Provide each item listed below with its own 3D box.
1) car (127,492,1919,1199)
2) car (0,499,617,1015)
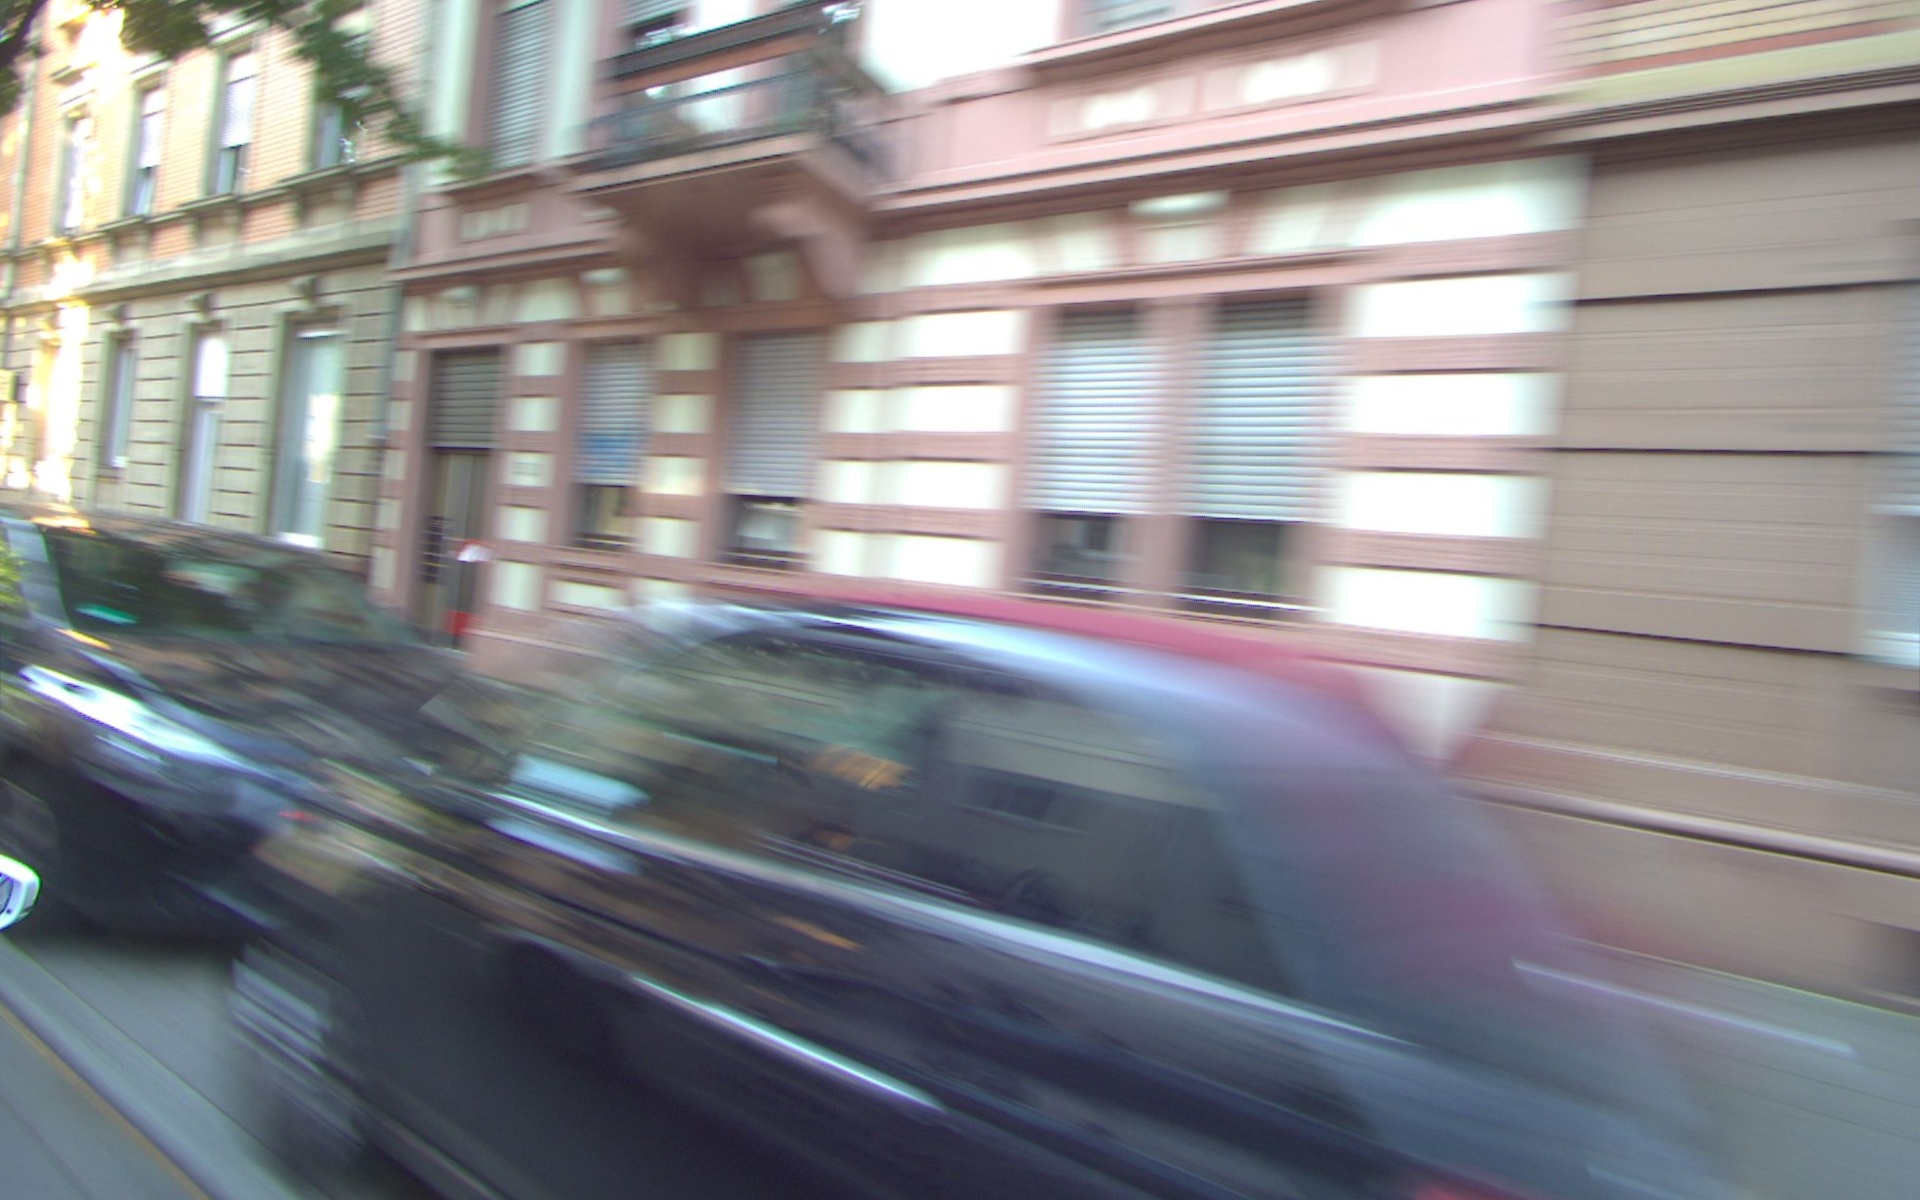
[{"bbox_3d":[-0.296,0.695,2.356,3.553,1.515,1.552,7,-1,35],"label":"car"},{"bbox_3d":[-3.604,0.352,4.545,3.748,1.421,1.718,7,0,29],"label":"car"}]
